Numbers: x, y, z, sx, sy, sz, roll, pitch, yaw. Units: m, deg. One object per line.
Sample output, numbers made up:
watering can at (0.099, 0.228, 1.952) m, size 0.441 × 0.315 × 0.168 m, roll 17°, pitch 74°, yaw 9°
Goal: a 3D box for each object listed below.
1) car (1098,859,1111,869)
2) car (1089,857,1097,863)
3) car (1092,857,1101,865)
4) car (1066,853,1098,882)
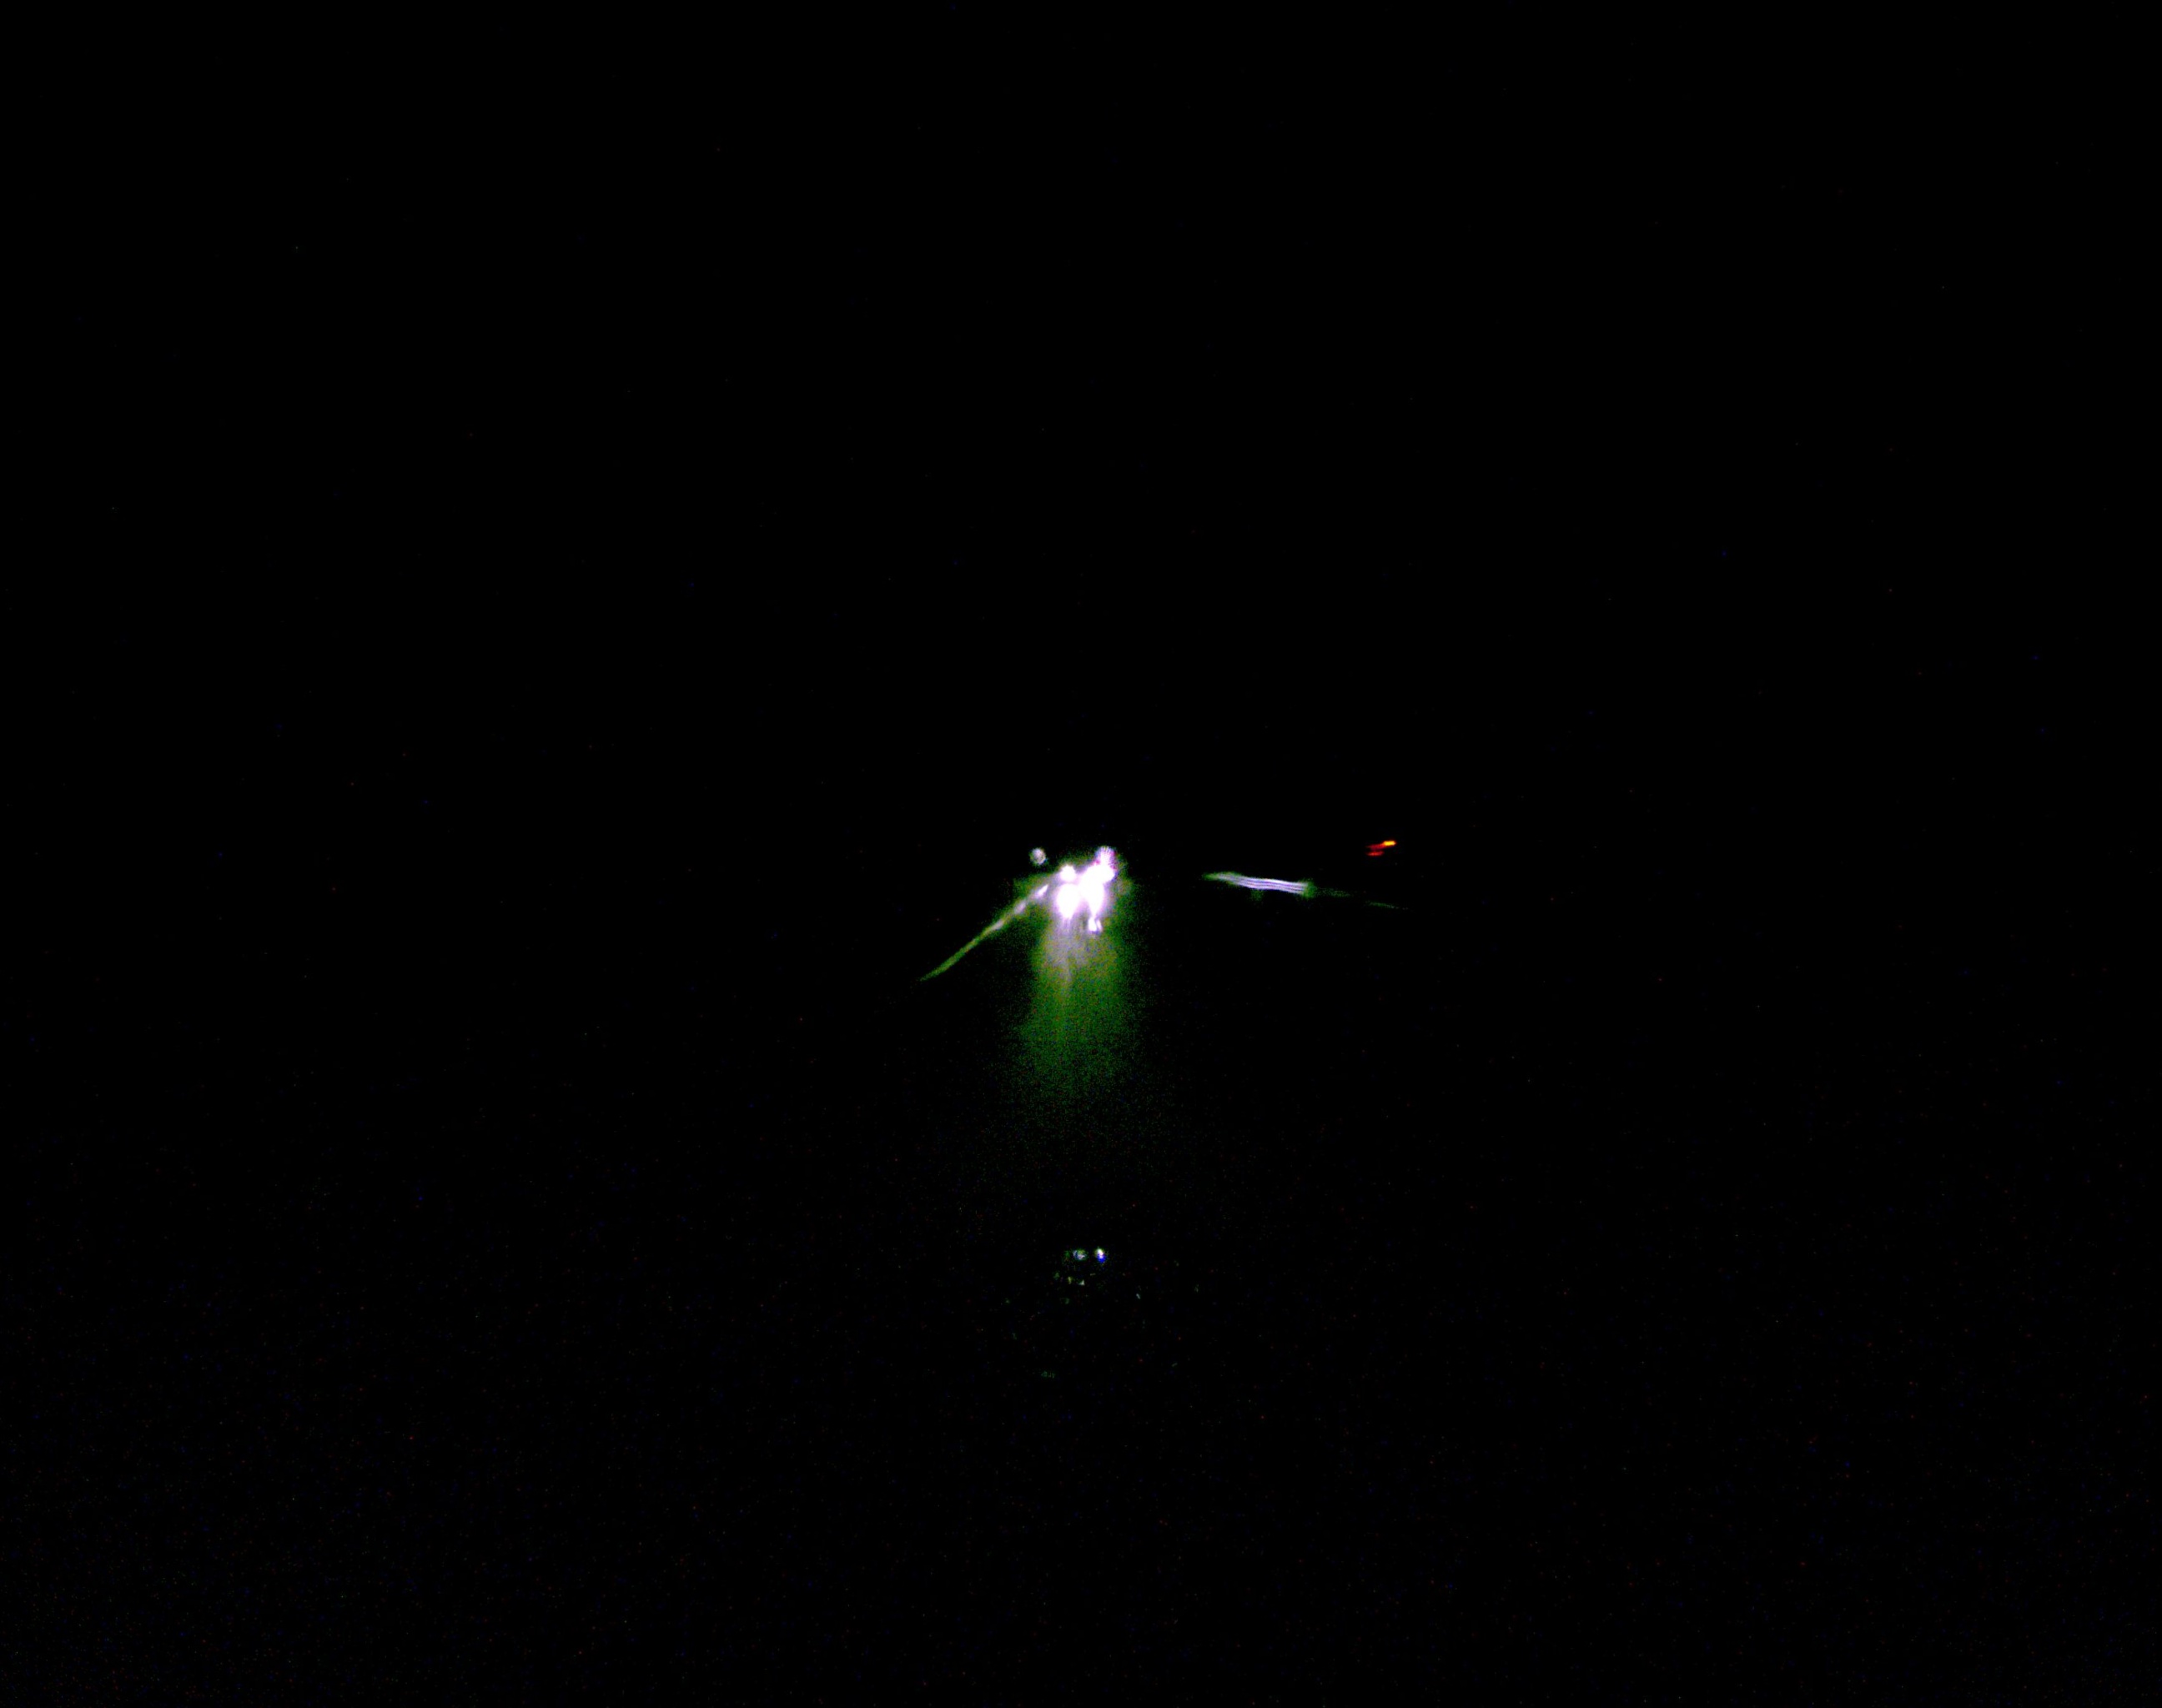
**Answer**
car at (3.874, 1.662, 125.923) m, size 1.841 × 1.462 × 4.391 m, roll -1°, pitch 0°, yaw -1°
car at (2.739, 1.377, 177.937) m, size 1.833 × 1.447 × 3.793 m, roll 1°, pitch -1°, yaw 0°
car at (3.238, 1.486, 160.937) m, size 1.936 × 1.577 × 4.001 m, roll 1°, pitch -1°, yaw 1°
car at (0.048, 0.831, 49.891) m, size 1.998 × 1.804 × 4.000 m, roll -1°, pitch 0°, yaw 0°
